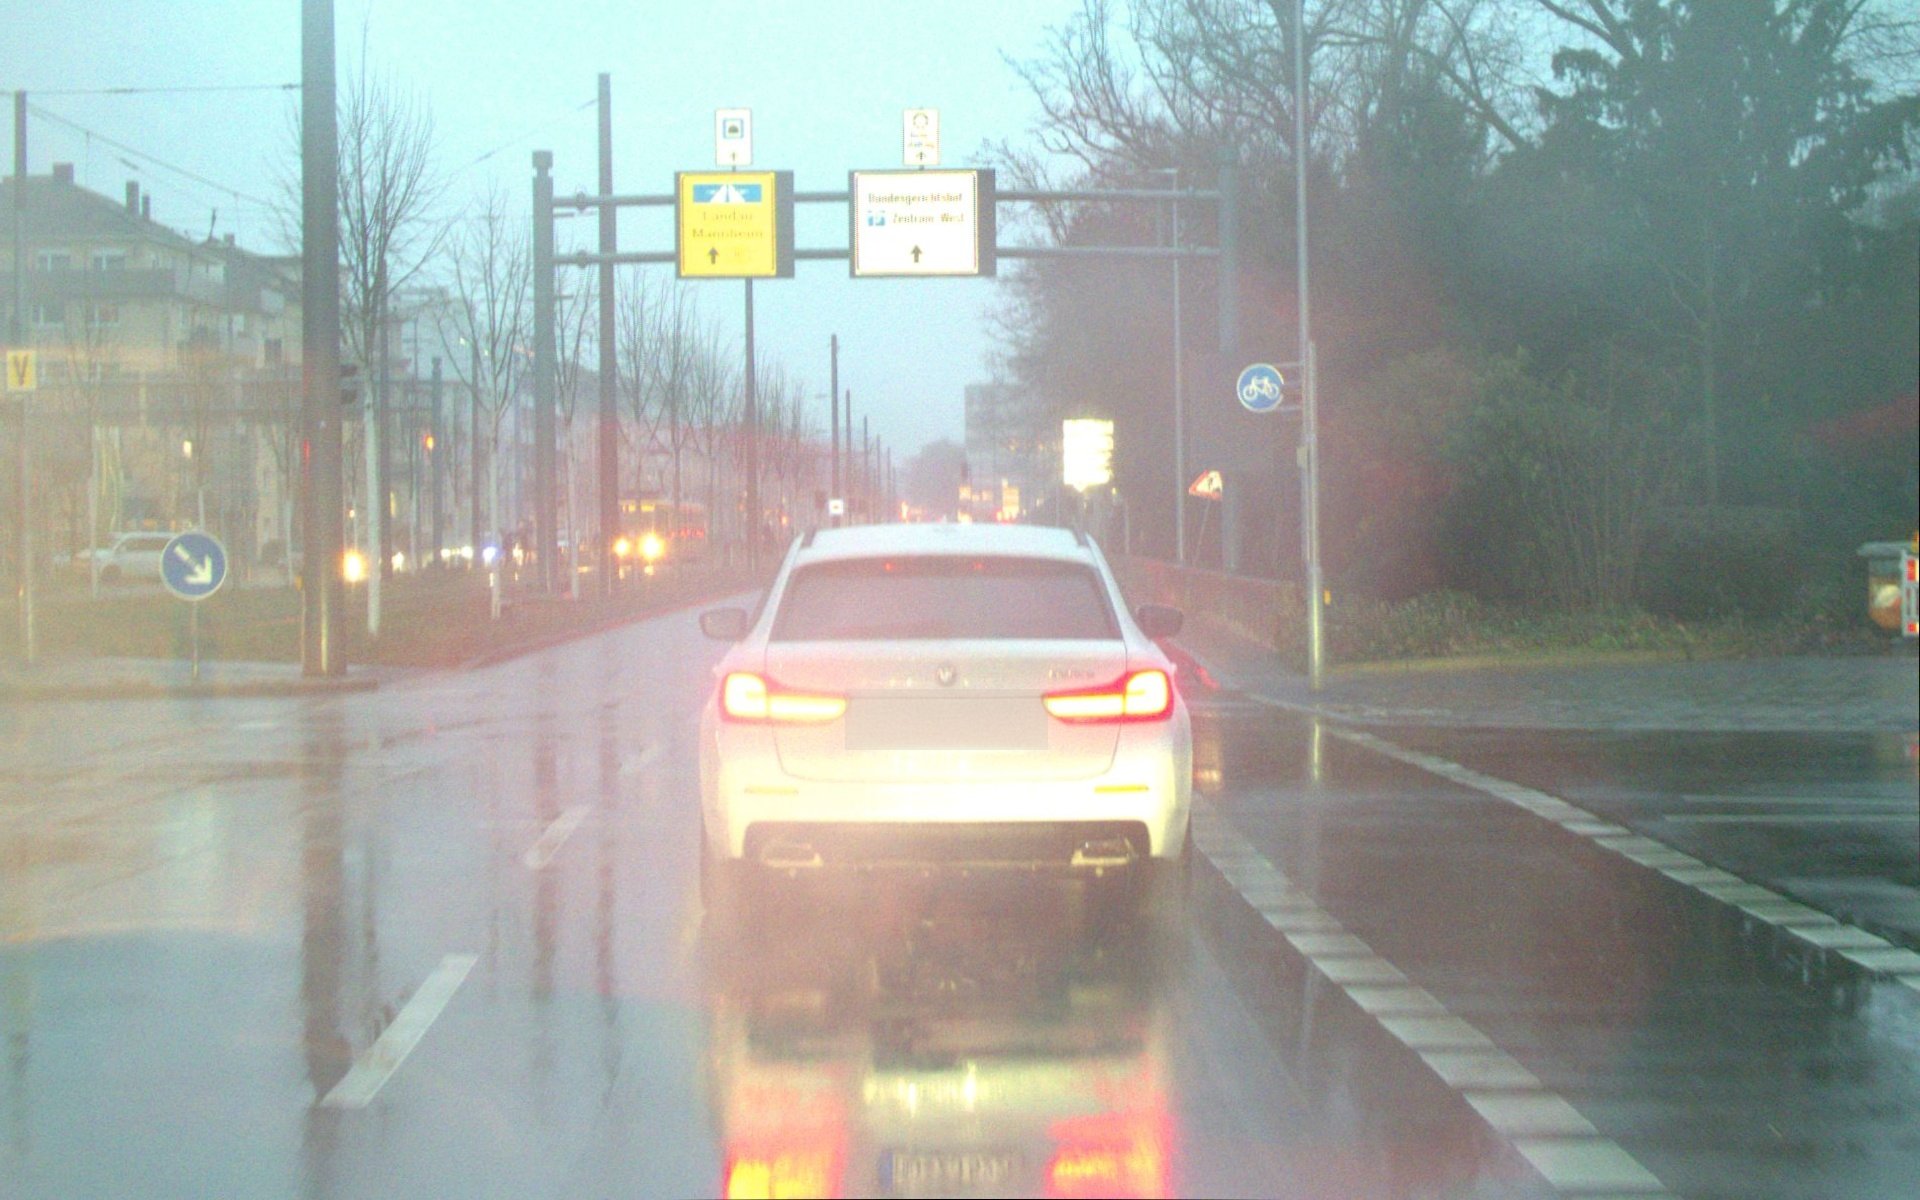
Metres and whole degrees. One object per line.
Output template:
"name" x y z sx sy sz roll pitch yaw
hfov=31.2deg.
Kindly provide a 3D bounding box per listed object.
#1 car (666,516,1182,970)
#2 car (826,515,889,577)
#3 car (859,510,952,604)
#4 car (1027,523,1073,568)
"car" -0.257 0.448 13.993 1.759 1.547 4.252 1 1 -4
"car" -3.454 -1.844 116.234 1.993 2.007 4.000 1 1 0
"car" -1.189 -0.970 76.585 1.993 2.007 4.000 1 1 0
"car" 4.144 -2.528 158.831 1.993 2.007 4.000 1 1 0
